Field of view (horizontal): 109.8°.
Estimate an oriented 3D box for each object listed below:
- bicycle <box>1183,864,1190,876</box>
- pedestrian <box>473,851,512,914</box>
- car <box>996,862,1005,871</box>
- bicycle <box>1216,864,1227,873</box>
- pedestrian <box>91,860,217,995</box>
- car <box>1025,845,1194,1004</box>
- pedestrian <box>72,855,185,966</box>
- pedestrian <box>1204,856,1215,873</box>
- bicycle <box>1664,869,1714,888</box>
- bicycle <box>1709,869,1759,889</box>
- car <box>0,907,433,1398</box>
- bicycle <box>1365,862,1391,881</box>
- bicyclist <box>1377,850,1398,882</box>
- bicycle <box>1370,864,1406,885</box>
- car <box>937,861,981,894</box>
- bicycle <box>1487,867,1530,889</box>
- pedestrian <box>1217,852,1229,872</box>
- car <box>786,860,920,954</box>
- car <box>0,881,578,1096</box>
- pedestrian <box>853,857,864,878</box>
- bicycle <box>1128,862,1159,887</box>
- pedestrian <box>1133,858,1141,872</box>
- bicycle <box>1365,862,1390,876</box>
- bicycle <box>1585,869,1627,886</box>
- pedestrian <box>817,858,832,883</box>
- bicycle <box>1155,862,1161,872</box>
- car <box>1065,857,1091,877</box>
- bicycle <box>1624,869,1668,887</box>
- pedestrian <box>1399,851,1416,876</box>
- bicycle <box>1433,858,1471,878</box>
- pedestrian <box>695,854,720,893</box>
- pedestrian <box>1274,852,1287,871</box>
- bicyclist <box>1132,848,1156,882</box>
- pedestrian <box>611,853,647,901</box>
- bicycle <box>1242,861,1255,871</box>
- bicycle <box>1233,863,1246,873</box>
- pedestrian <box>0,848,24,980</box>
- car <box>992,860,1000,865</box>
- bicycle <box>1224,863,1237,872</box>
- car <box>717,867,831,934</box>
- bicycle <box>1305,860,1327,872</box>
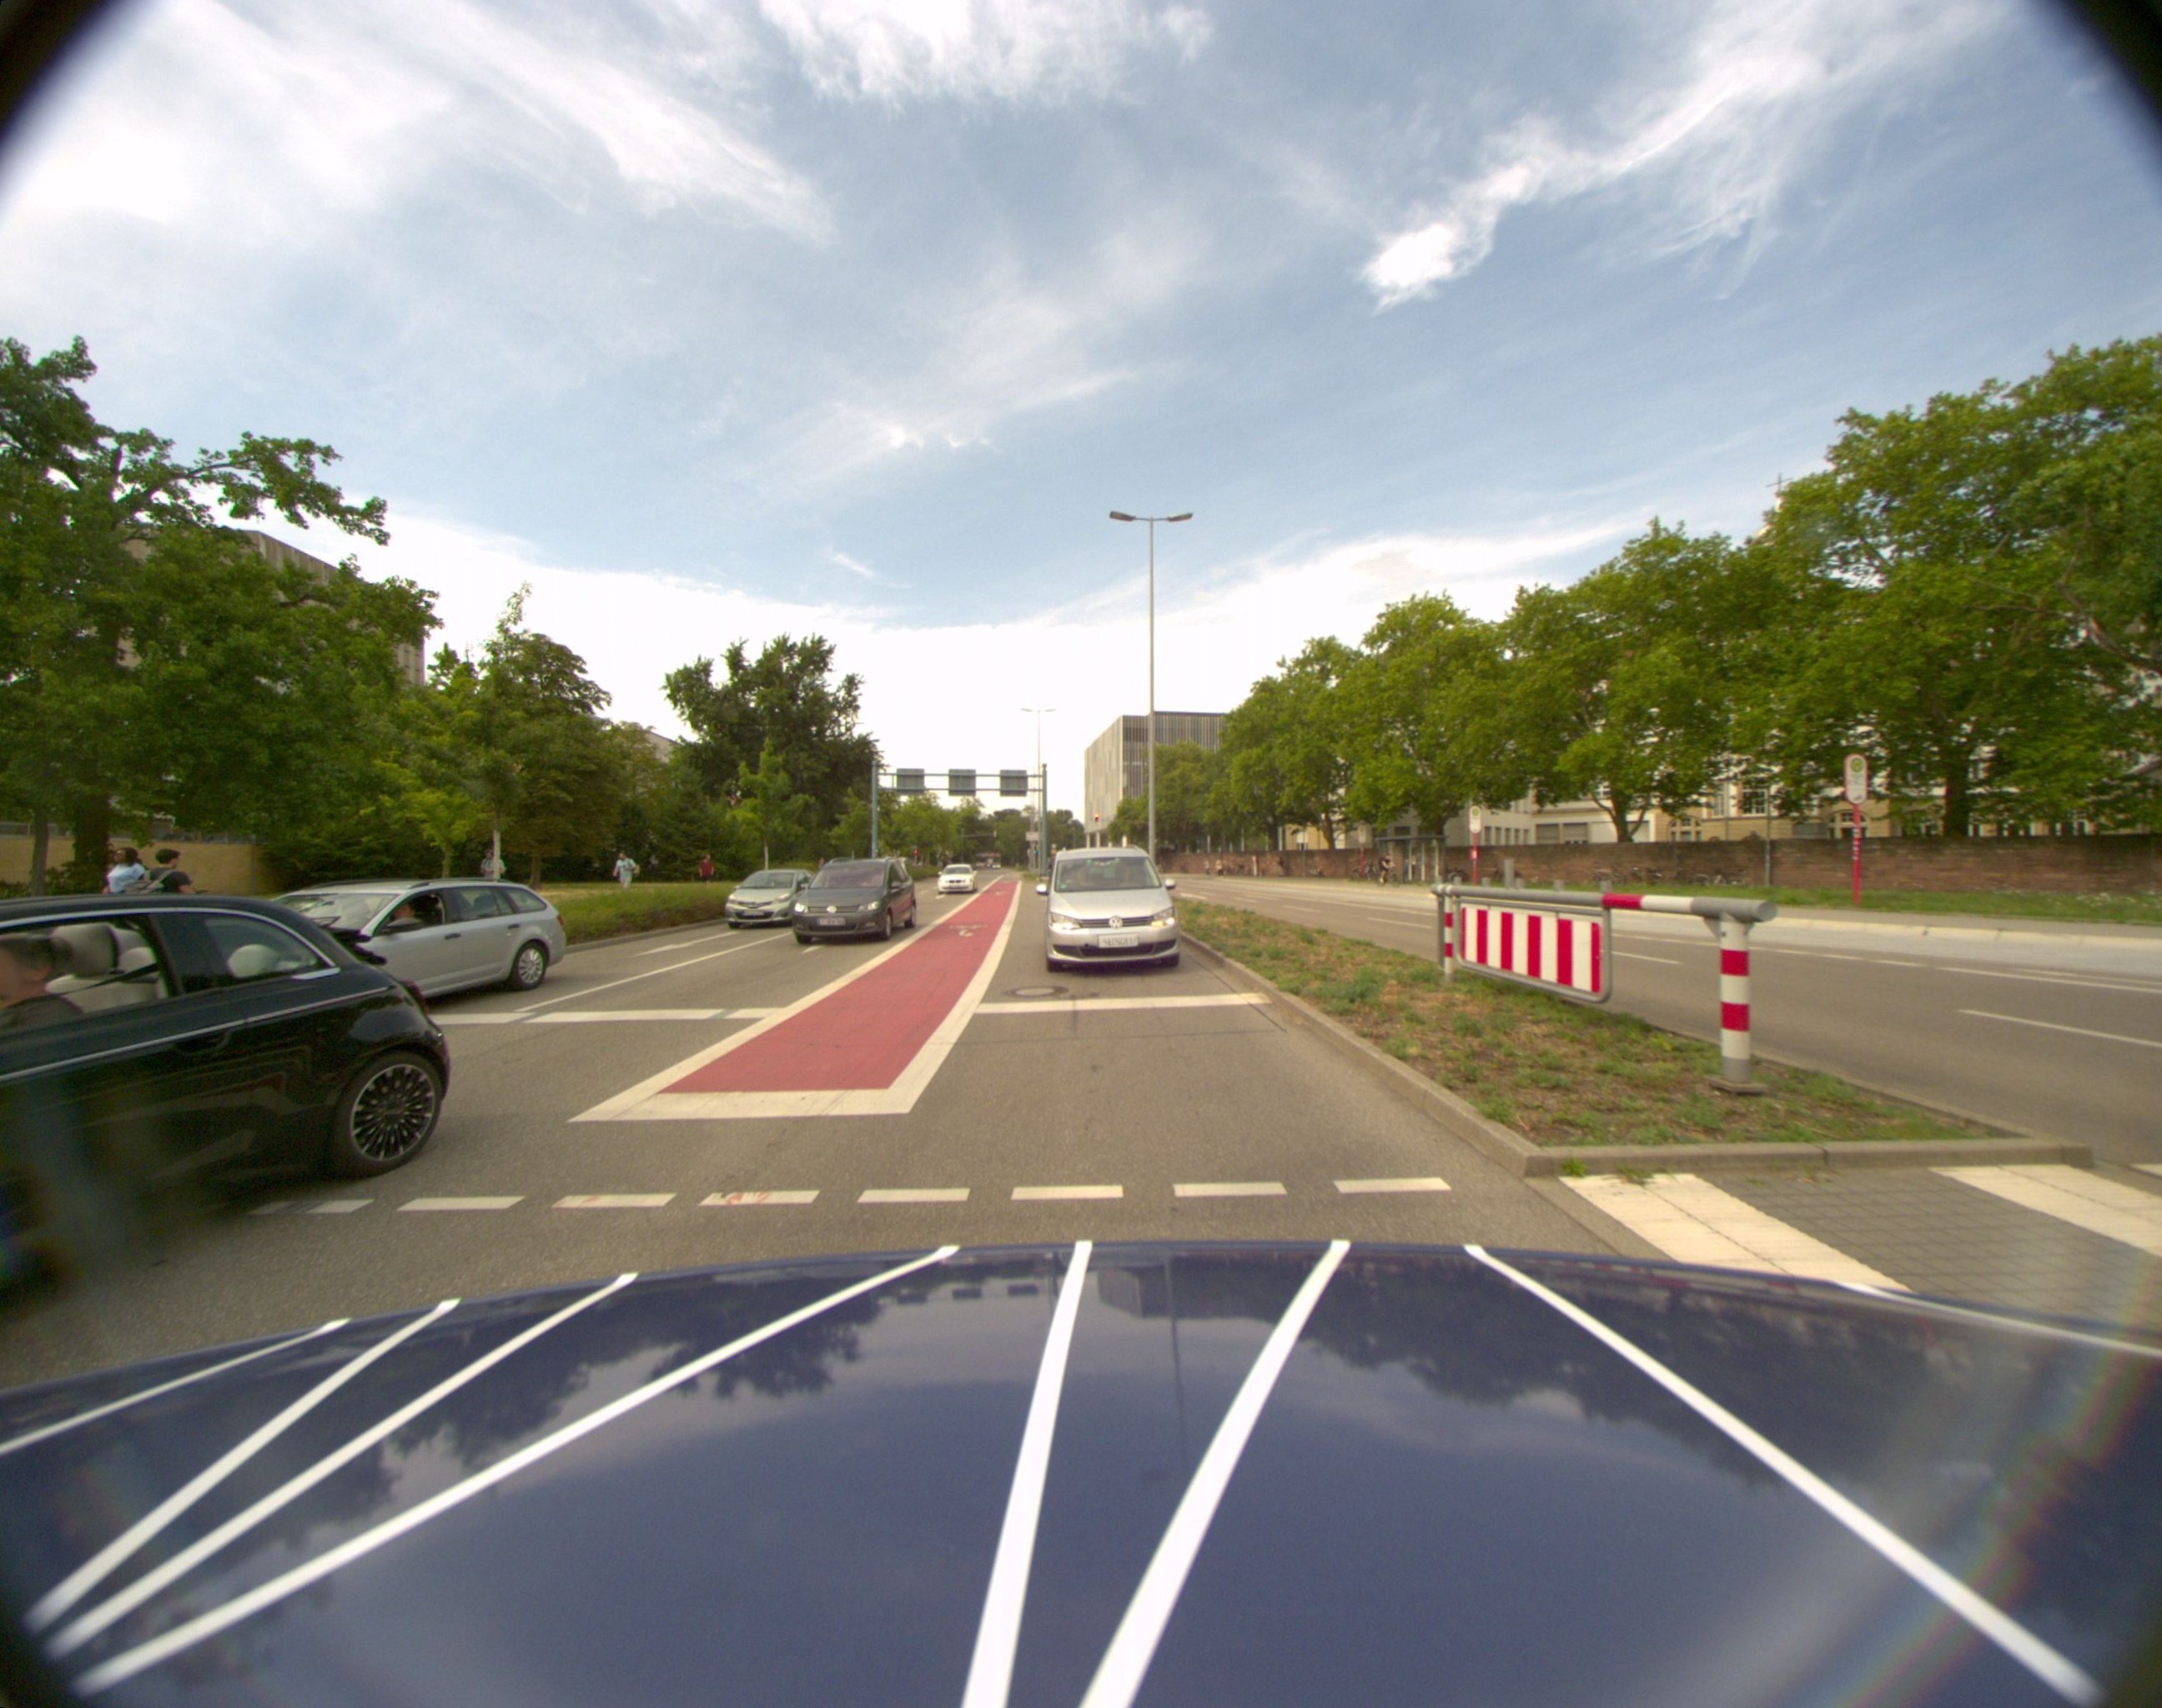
[{"bbox_3d":[11.591,1.744,83.559,0.513,1.202,1.395,-2,1,-4],"label":"bicycle"},{"bbox_3d":[-15.935,0.761,20.586,0.544,1.686,0.694,1,0,-8],"label":"pedestrian"},{"bbox_3d":[-18.962,2.864,178.291,1.999,2.002,3.997,-2,0,-6],"label":"car"},{"bbox_3d":[13.710,1.384,74.077,0.433,0.882,1.574,-4,0,-15],"label":"bicycle"},{"bbox_3d":[-12.323,0.945,10.125,0.734,1.701,0.693,-2,1,-1],"label":"pedestrian"},{"bbox_3d":[0.350,0.776,10.782,1.824,1.724,4.528,-2,0,1],"label":"car"},{"bbox_3d":[-15.325,0.880,12.248,0.714,1.701,0.799,-2,1,-8],"label":"pedestrian"},{"bbox_3d":[12.133,0.973,71.619,0.755,1.612,0.665,-2,1,-10],"label":"pedestrian"},{"bbox_3d":[28.598,1.157,35.759,0.359,0.859,1.887,2,-1,-23],"label":"bicycle"},{"bbox_3d":[29.681,1.125,34.567,0.359,0.859,1.704,2,-1,-30],"label":"bicycle"},{"bbox_3d":[-4.384,1.058,2.413,1.670,1.481,3.440,-1,0,0],"label":"car"},{"bbox_3d":[19.960,1.184,50.988,2.104,1.182,0.756,3,-2,-43],"label":"bicycle"},{"bbox_3d":[15.340,0.589,38.049,0.580,1.547,0.796,-2,2,-19],"label":"bicyclist"},{"bbox_3d":[15.350,0.994,38.040,0.506,0.930,1.968,-1,2,-17],"label":"bicycle"},{"bbox_3d":[-6.049,1.131,38.149,1.760,1.449,4.221,-2,0,-4],"label":"car"},{"bbox_3d":[24.479,1.361,43.532,0.760,1.182,2.094,2,-1,-26],"label":"bicycle"},{"bbox_3d":[12.056,0.689,64.432,0.755,1.612,0.665,-2,1,-10],"label":"pedestrian"},{"bbox_3d":[-4.765,1.001,16.589,1.760,1.641,4.684,-2,0,-4],"label":"car"},{"bbox_3d":[-7.841,1.152,8.351,1.824,1.465,4.526,-2,0,-4],"label":"car"},{"bbox_3d":[-18.422,1.079,62.864,0.714,1.701,0.694,-2,1,-4],"label":"pedestrian"},{"bbox_3d":[3.139,1.030,38.372,0.759,1.182,2.095,2,-1,-19],"label":"bicycle"},{"bbox_3d":[6.818,1.332,93.027,0.755,1.612,0.665,-2,1,-10],"label":"pedestrian"},{"bbox_3d":[20.527,1.048,52.557,0.662,0.882,1.573,-4,0,-24],"label":"bicycle"},{"bbox_3d":[27.030,1.193,39.130,0.359,0.859,1.818,2,-1,-27],"label":"bicycle"},{"bbox_3d":[-17.879,1.124,52.970,0.714,1.701,0.694,-2,1,-4],"label":"pedestrian"},{"bbox_3d":[9.666,1.574,95.023,0.513,1.202,1.395,-2,1,-4],"label":"bicycle"},{"bbox_3d":[-0.296,1.044,61.330,1.789,1.481,4.128,2,0,-4],"label":"car"},{"bbox_3d":[27.844,1.174,37.479,0.359,0.859,1.806,2,-1,-25],"label":"bicycle"},{"bbox_3d":[21.478,0.644,49.976,0.569,1.612,0.753,-3,1,-26],"label":"pedestrian"},{"bbox_3d":[22.955,0.887,47.038,0.760,1.182,2.094,2,-1,-26],"label":"bicycle"},{"bbox_3d":[-16.452,0.853,33.487,0.714,1.701,0.694,-2,1,-4],"label":"pedestrian"},{"bbox_3d":[16.512,0.623,62.886,0.664,1.612,0.756,-1,1,45],"label":"pedestrian"},{"bbox_3d":[3.156,0.554,38.368,0.779,1.700,1.084,2,-1,-20],"label":"bicyclist"},{"bbox_3d":[-16.385,0.820,27.537,0.842,1.701,0.694,-2,1,-8],"label":"pedestrian"},{"bbox_3d":[15.117,1.114,68.592,0.433,0.882,1.574,-4,0,-15],"label":"bicycle"},{"bbox_3d":[14.759,1.274,70.707,0.433,0.882,1.574,-4,0,-15],"label":"bicycle"},{"bbox_3d":[-14.392,0.792,9.601,0.840,1.701,0.798,-2,1,-19],"label":"pedestrian"},{"bbox_3d":[-25.962,2.550,231.313,1.999,1.565,3.999,-2,0,-1],"label":"car"},{"bbox_3d":[14.208,1.284,72.251,0.433,0.882,1.574,-4,0,-15],"label":"bicycle"},{"bbox_3d":[-8.112,1.157,20.449,1.671,1.481,3.874,-2,0,-4],"label":"car"},{"bbox_3d":[18.164,0.915,58.745,0.662,0.882,1.573,-4,0,-24],"label":"bicycle"}]
